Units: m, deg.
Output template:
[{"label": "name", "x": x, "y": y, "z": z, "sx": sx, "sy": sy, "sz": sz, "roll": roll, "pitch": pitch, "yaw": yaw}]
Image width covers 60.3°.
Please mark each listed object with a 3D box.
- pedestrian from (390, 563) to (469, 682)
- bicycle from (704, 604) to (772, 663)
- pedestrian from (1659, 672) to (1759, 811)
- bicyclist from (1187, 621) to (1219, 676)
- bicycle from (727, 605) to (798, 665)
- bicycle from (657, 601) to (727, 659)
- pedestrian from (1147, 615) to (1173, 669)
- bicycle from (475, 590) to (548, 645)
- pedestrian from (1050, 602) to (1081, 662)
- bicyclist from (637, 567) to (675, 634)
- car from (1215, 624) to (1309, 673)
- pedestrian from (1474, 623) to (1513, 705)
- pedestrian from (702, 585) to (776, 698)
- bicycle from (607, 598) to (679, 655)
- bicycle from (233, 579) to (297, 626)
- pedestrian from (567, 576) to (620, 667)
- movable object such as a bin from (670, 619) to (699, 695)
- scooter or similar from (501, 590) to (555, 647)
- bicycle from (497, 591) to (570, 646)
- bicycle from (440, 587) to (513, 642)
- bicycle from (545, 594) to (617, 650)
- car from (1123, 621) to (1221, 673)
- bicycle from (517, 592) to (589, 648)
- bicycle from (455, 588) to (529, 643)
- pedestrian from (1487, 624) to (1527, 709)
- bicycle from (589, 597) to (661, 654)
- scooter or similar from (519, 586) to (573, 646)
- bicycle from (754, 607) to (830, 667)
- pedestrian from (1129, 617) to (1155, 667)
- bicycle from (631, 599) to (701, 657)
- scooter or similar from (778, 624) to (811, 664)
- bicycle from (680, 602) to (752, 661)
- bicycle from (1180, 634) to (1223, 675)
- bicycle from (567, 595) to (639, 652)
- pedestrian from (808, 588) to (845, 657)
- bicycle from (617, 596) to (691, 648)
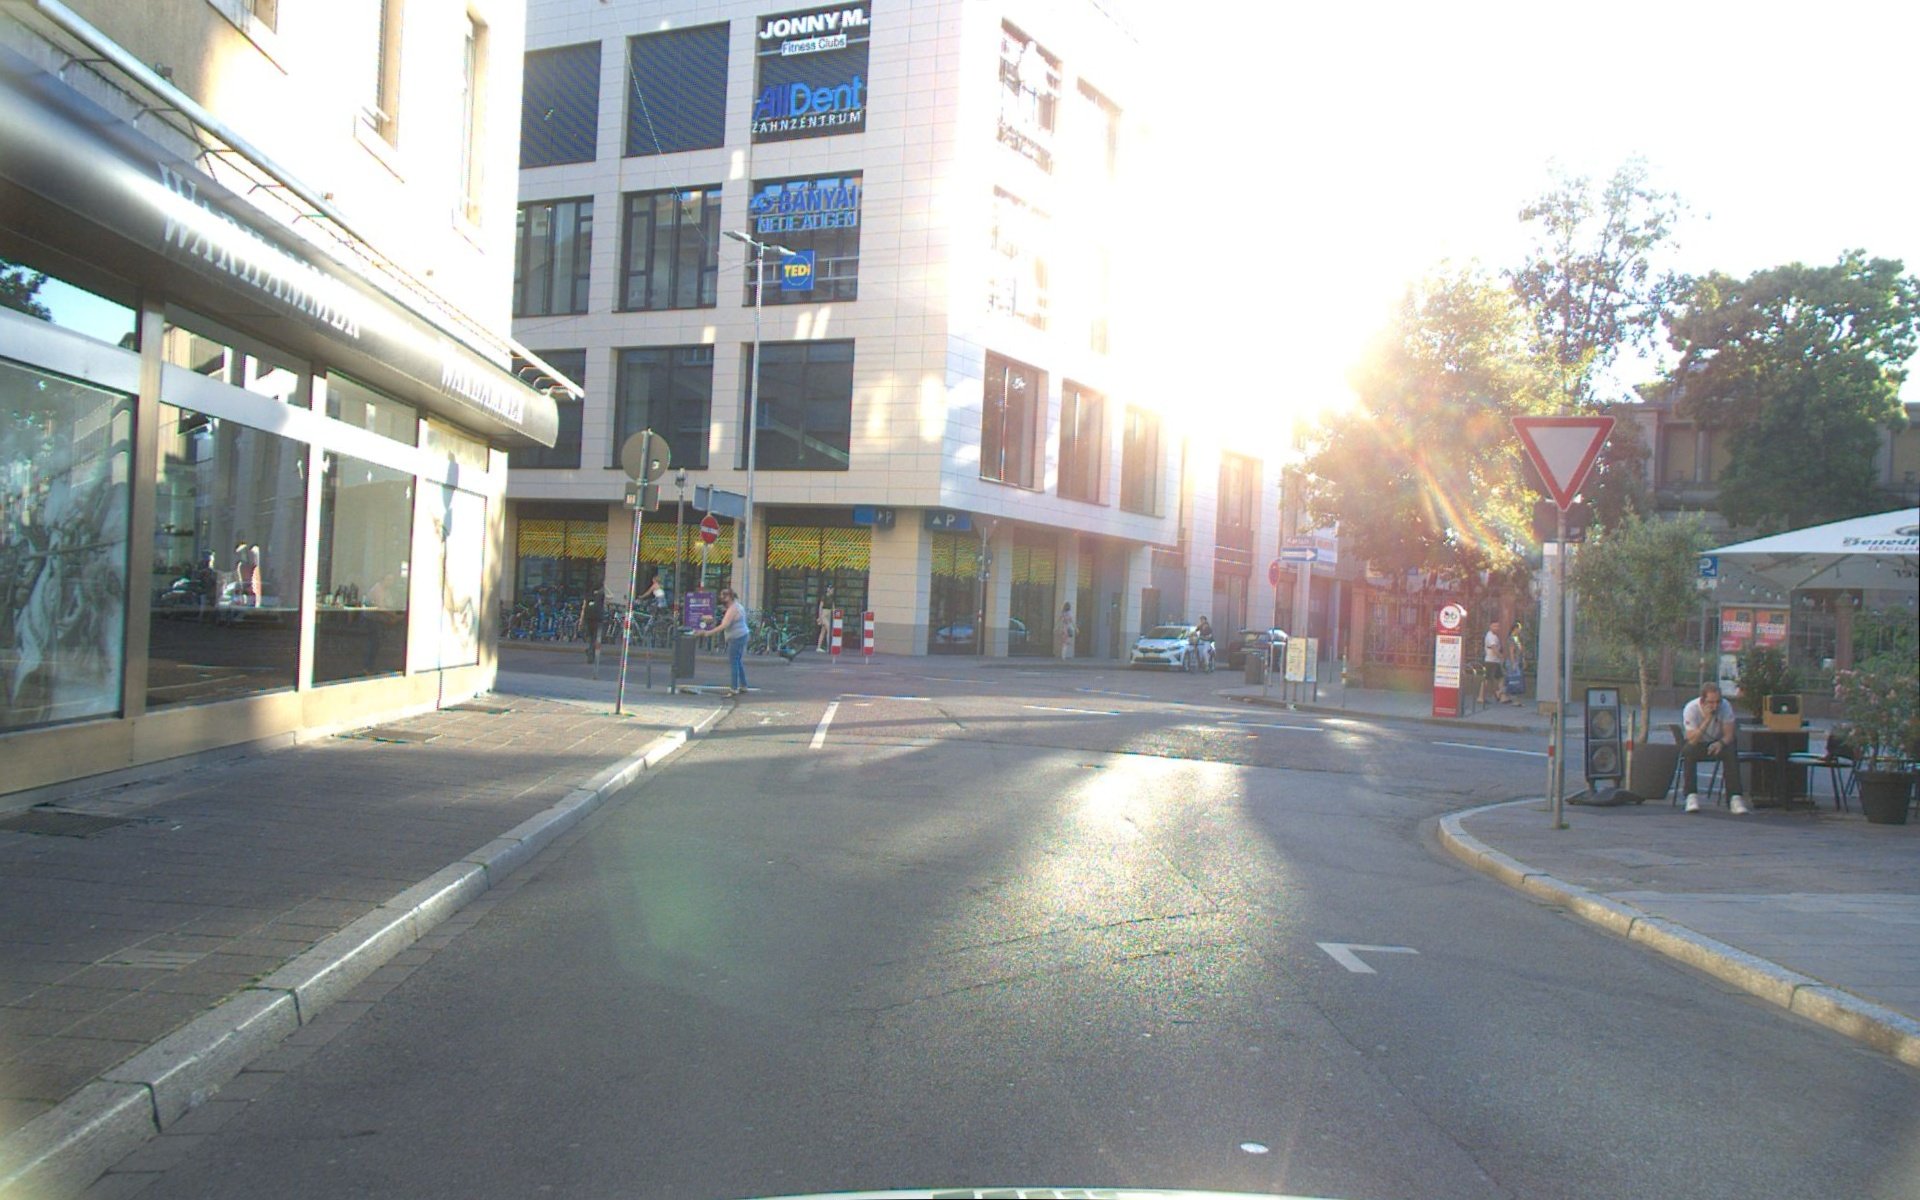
[{"label": "pedestrian", "x": -7.586, "y": 0.323, "z": 23.680, "sx": 0.717, "sy": 1.641, "sz": 0.805, "roll": 3, "pitch": -1, "yaw": 8}, {"label": "bicycle", "x": -5.021, "y": 0.770, "z": 37.606, "sx": 0.501, "sy": 1.276, "sz": 1.977, "roll": 3, "pitch": -1, "yaw": 24}, {"label": "pedestrian", "x": 7.089, "y": 1.322, "z": 15.684, "sx": 0.593, "sy": 1.209, "sz": 0.822, "roll": 3, "pitch": 0, "yaw": 7}, {"label": "bicyclist", "x": 7.299, "y": 1.457, "z": 49.682, "sx": 0.645, "sy": 1.598, "sz": 0.862, "roll": 3, "pitch": -1, "yaw": 27}, {"label": "bicycle", "x": -4.439, "y": 0.804, "z": 37.375, "sx": 0.569, "sy": 1.276, "sz": 2.043, "roll": 3, "pitch": -1, "yaw": 24}, {"label": "bicycle", "x": -6.187, "y": 0.707, "z": 38.289, "sx": 0.502, "sy": 1.276, "sz": 1.977, "roll": 3, "pitch": -1, "yaw": 26}, {"label": "pedestrian", "x": 7.048, "y": 1.481, "z": 58.324, "sx": 0.659, "sy": 1.868, "sz": 0.647, "roll": 3, "pitch": -1, "yaw": 26}, {"label": "bicycle", "x": -11.100, "y": 0.436, "z": 41.000, "sx": 0.502, "sy": 1.276, "sz": 1.977, "roll": 3, "pitch": -1, "yaw": 26}, {"label": "pedestrian", "x": 3.193, "y": 0.962, "z": 49.985, "sx": 0.659, "sy": 1.775, "sz": 0.646, "roll": 2, "pitch": -1, "yaw": 28}, {"label": "bicyclist", "x": -8.119, "y": 0.013, "z": 44.128, "sx": 0.630, "sy": 1.725, "sz": 0.683, "roll": 3, "pitch": -1, "yaw": 28}, {"label": "car", "x": 10.996, "y": 1.778, "z": 60.044, "sx": 1.849, "sy": 1.626, "sz": 4.680, "roll": 3, "pitch": -1, "yaw": 30}, {"label": "pedestrian", "x": 11.384, "y": 1.354, "z": 35.313, "sx": 0.688, "sy": 1.699, "sz": 0.643, "roll": 3, "pitch": 1, "yaw": 14}, {"label": "pedestrian", "x": -3.305, "y": 0.616, "z": 24.705, "sx": 0.794, "sy": 1.641, "sz": 0.727, "roll": 3, "pitch": -1, "yaw": -32}, {"label": "bicycle", "x": -7.437, "y": 0.637, "z": 38.926, "sx": 0.502, "sy": 1.276, "sz": 1.977, "roll": 3, "pitch": -1, "yaw": 26}, {"label": "bicycle", "x": -20.536, "y": 0.078, "z": 48.865, "sx": 1.934, "sy": 1.276, "sz": 0.513, "roll": 3, "pitch": -1, "yaw": 26}, {"label": "pedestrian", "x": -7.030, "y": 0.414, "z": 31.717, "sx": 0.856, "sy": 1.687, "sz": 0.616, "roll": 3, "pitch": -1, "yaw": -18}, {"label": "movable object such as a bin", "x": -4.032, "y": 0.830, "z": 24.211, "sx": 0.353, "sy": 1.082, "sz": 0.355, "roll": 3, "pitch": -1, "yaw": -14}, {"label": "scooter or similar", "x": -9.821, "y": 0.421, "z": 37.624, "sx": 0.379, "sy": 1.233, "sz": 1.269, "roll": 3, "pitch": -1, "yaw": 26}, {"label": "bicycle", "x": -10.456, "y": 0.471, "z": 40.579, "sx": 0.502, "sy": 1.276, "sz": 1.977, "roll": 3, "pitch": -1, "yaw": 26}, {"label": "bicycle", "x": -12.165, "y": 0.379, "z": 41.651, "sx": 0.502, "sy": 1.276, "sz": 1.977, "roll": 3, "pitch": -1, "yaw": 26}, {"label": "bicycle", "x": -9.151, "y": 0.545, "z": 39.981, "sx": 0.502, "sy": 1.276, "sz": 1.977, "roll": 3, "pitch": -1, "yaw": 26}, {"label": "car", "x": 6.733, "y": 1.475, "z": 52.164, "sx": 1.743, "sy": 1.478, "sz": 4.226, "roll": 3, "pitch": -1, "yaw": 26}, {"label": "bicycle", "x": -9.903, "y": 0.502, "z": 40.303, "sx": 0.501, "sy": 1.276, "sz": 1.977, "roll": 3, "pitch": -1, "yaw": 24}, {"label": "bicycle", "x": -11.646, "y": 0.405, "z": 41.236, "sx": 0.502, "sy": 1.276, "sz": 1.977, "roll": 3, "pitch": -1, "yaw": 26}, {"label": "pedestrian", "x": 11.375, "y": 1.372, "z": 34.406, "sx": 0.688, "sy": 1.699, "sz": 0.643, "roll": 3, "pitch": 1, "yaw": 14}, {"label": "bicycle", "x": -7.918, "y": 0.611, "z": 39.213, "sx": 0.502, "sy": 1.276, "sz": 1.977, "roll": 3, "pitch": -1, "yaw": 26}, {"label": "scooter or similar", "x": -9.339, "y": 0.369, "z": 37.302, "sx": 0.379, "sy": 1.282, "sz": 1.269, "roll": 3, "pitch": -1, "yaw": 26}, {"label": "bicycle", "x": -3.744, "y": 0.843, "z": 37.089, "sx": 0.650, "sy": 1.276, "sz": 2.139, "roll": 3, "pitch": -1, "yaw": 24}, {"label": "pedestrian", "x": 6.437, "y": 1.489, "z": 58.633, "sx": 0.659, "sy": 1.704, "sz": 0.647, "roll": 3, "pitch": -1, "yaw": 26}, {"label": "bicycle", "x": -6.856, "y": 0.670, "z": 38.671, "sx": 0.502, "sy": 1.276, "sz": 1.977, "roll": 3, "pitch": -1, "yaw": 25}, {"label": "scooter or similar", "x": -3.864, "y": 1.034, "z": 38.689, "sx": 0.379, "sy": 0.899, "sz": 0.769, "roll": 3, "pitch": -1, "yaw": 26}, {"label": "bicycle", "x": -5.571, "y": 0.739, "z": 37.867, "sx": 0.502, "sy": 1.276, "sz": 1.976, "roll": 3, "pitch": -1, "yaw": 28}, {"label": "bicycle", "x": 7.249, "y": 1.635, "z": 49.613, "sx": 0.651, "sy": 1.158, "sz": 1.819, "roll": 3, "pitch": -1, "yaw": 27}, {"label": "bicycle", "x": -8.526, "y": 0.578, "z": 39.562, "sx": 0.502, "sy": 1.276, "sz": 1.977, "roll": 3, "pitch": -1, "yaw": 26}, {"label": "pedestrian", "x": -3.521, "y": 0.579, "z": 43.501, "sx": 0.628, "sy": 1.753, "sz": 0.838, "roll": 3, "pitch": -1, "yaw": -27}, {"label": "bicycle", "x": -8.176, "y": 0.588, "z": 44.168, "sx": 1.935, "sy": 1.276, "sz": 0.612, "roll": 3, "pitch": -1, "yaw": 28}]
